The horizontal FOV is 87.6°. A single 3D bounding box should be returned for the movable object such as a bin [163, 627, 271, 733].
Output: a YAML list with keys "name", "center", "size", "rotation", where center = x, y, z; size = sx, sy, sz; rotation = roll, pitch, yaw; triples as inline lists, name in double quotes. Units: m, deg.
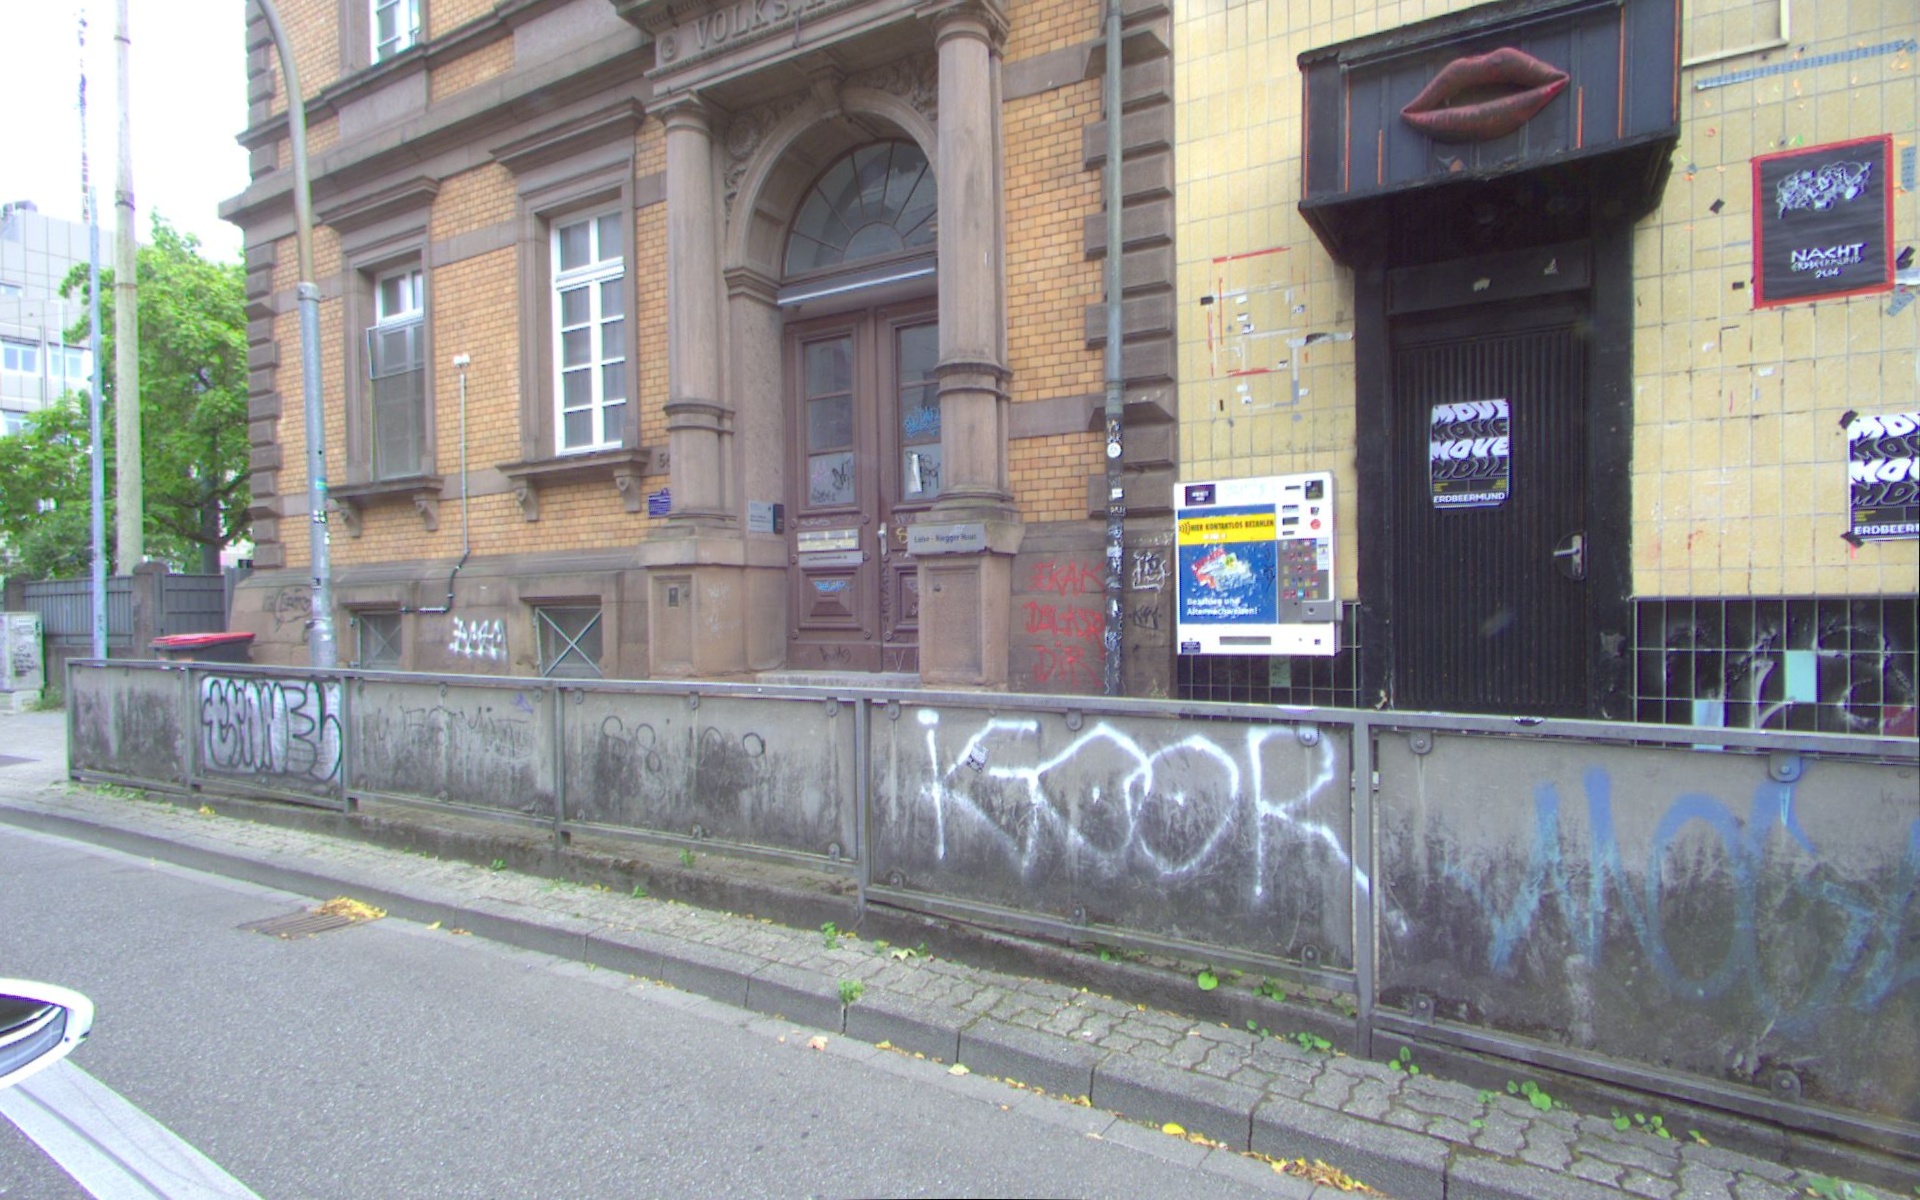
- name: "movable object such as a bin"
  center: [-8.327, 0.878, 11.233]
  size: [0.690, 1.097, 0.662]
  rotation: [-1, 4, 27]

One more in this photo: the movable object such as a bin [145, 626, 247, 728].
- name: "movable object such as a bin"
  center: [-8.891, 0.882, 11.662]
  size: [0.667, 1.097, 0.650]
  rotation: [-1, 4, 27]
